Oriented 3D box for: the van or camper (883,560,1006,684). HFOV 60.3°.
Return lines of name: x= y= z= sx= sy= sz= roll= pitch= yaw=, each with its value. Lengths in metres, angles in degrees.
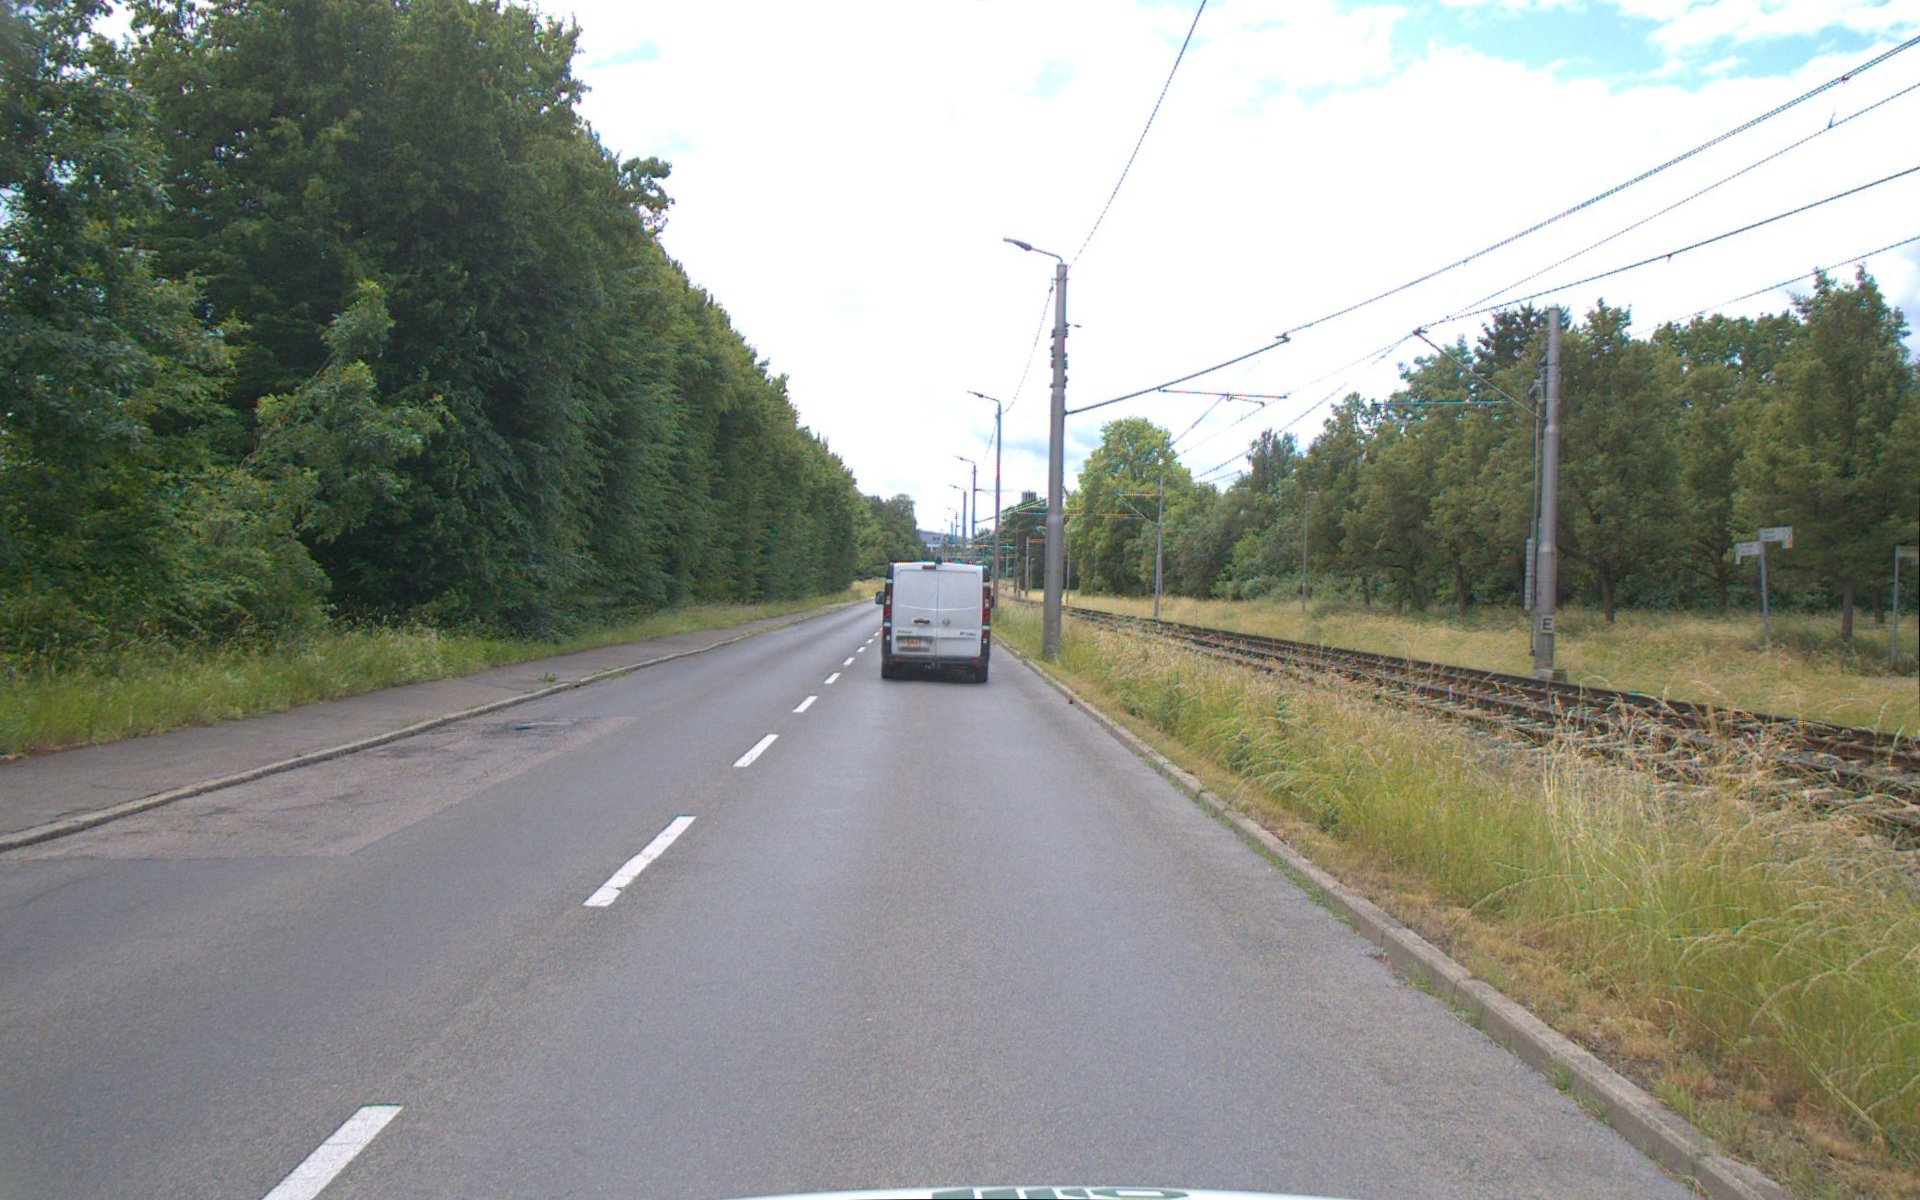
van or camper: x=-0.349 y=0.344 z=29.045 sx=1.903 sy=1.930 sz=4.282 roll=3 pitch=0 yaw=-3
